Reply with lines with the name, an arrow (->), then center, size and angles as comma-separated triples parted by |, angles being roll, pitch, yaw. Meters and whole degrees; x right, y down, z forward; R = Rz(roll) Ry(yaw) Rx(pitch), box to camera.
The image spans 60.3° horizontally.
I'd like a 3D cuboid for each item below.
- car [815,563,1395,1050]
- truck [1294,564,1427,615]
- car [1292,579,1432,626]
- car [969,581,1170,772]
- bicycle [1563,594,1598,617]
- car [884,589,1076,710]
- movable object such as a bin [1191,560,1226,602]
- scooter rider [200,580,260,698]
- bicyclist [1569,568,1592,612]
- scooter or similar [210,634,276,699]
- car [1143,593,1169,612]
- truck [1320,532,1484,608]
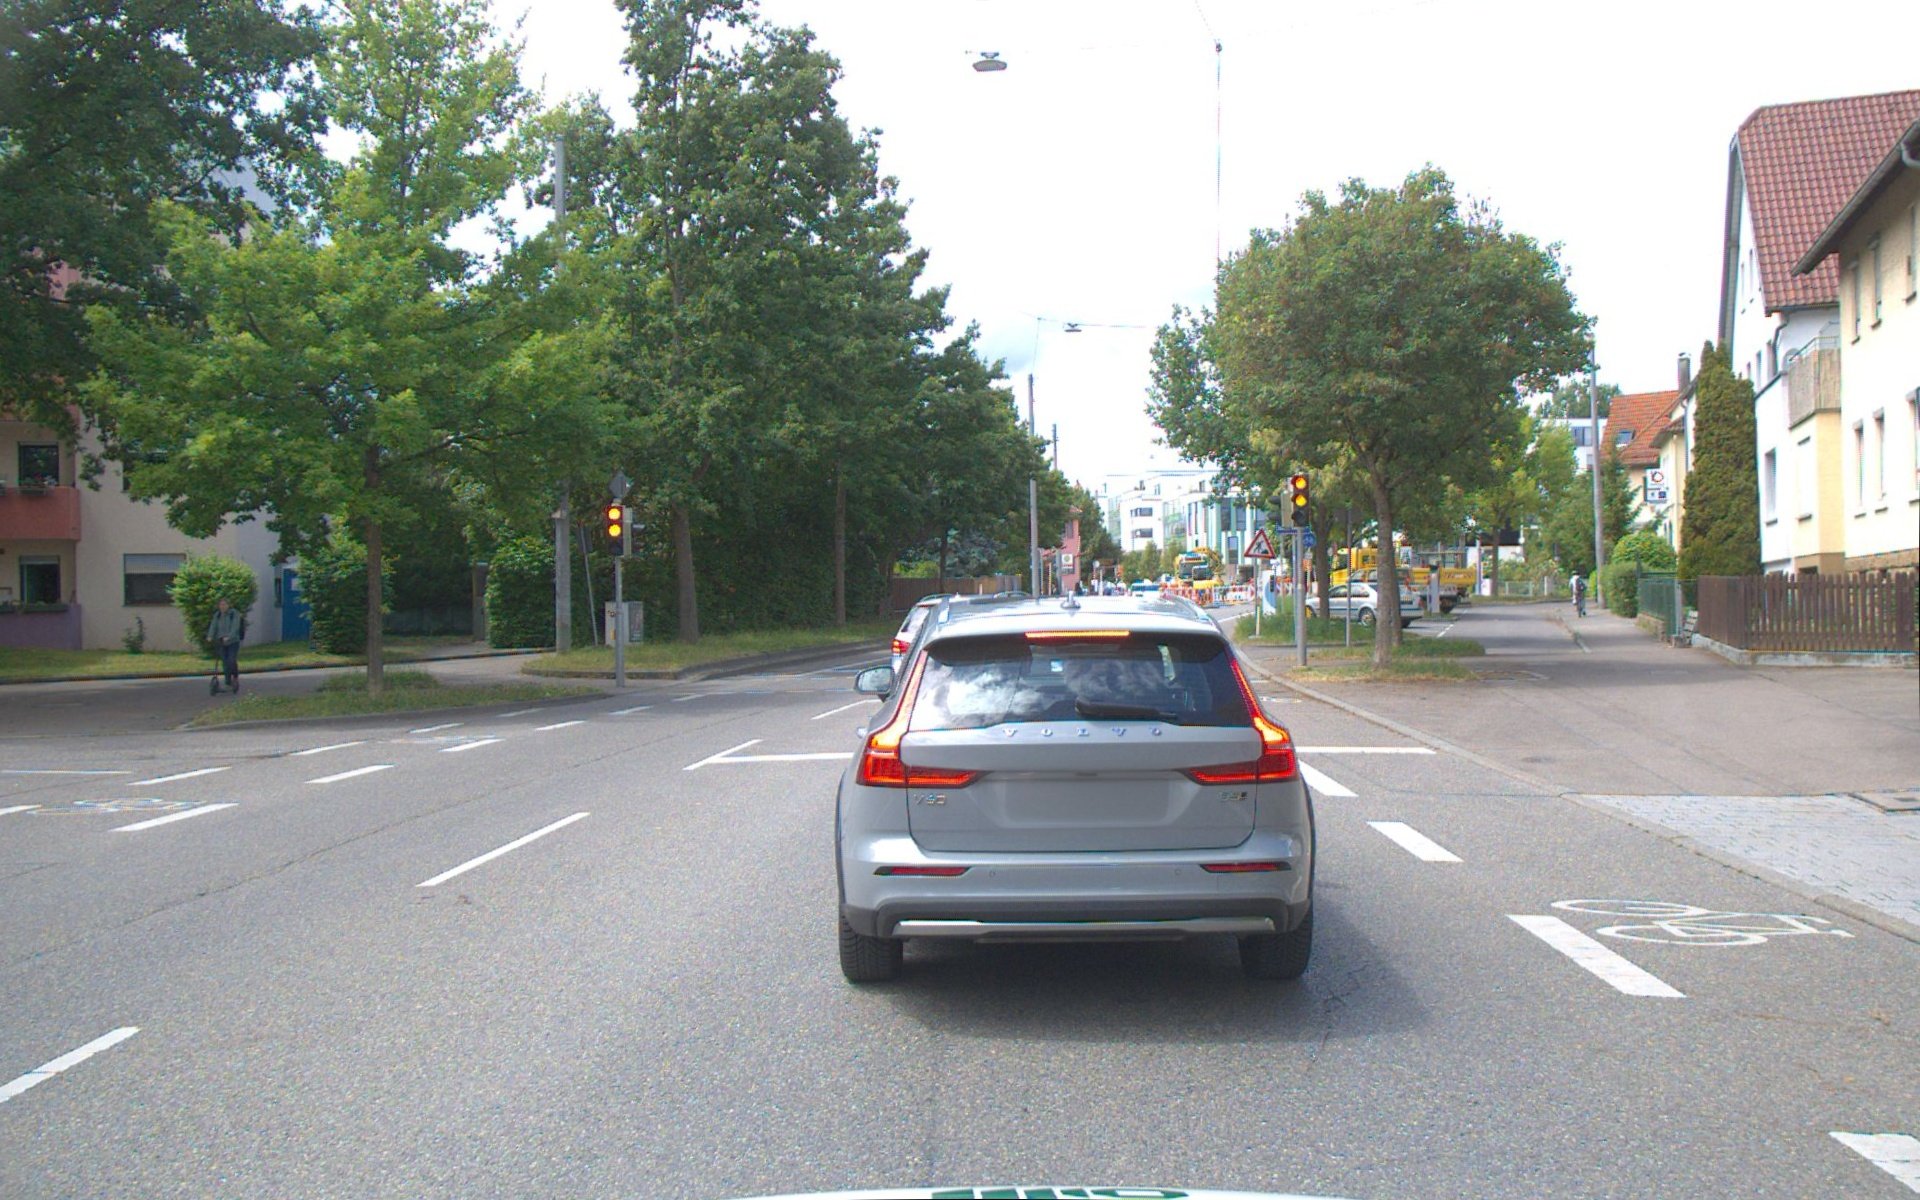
car -> 0.472, 0.689, 7.452 | 1.888, 1.567, 3.999 | -1, 0, 0
truck -> 16.672, -0.430, 69.211 | 1.975, 2.049, 5.613 | 2, -1, -33
car -> 13.200, 0.073, 54.609 | 1.745, 1.477, 4.638 | -1, 1, -32
car -> 0.976, 0.647, 15.549 | 1.627, 1.534, 3.703 | 1, 0, 2
bicycle -> 22.334, 0.190, 59.561 | 0.582, 0.826, 1.753 | 1, 0, -1
car -> 0.380, 0.655, 23.092 | 2.057, 1.536, 4.003 | 0, -1, 10
movable object such as a bin -> 16.476, -1.263, 109.634 | 1.991, 2.689, 5.945 | -2, 0, 11
scooter rider -> -12.860, 0.683, 29.146 | 0.663, 2.049, 0.794 | 1, -1, -1
bicyclist -> 22.349, -0.354, 59.601 | 0.577, 1.586, 0.566 | 1, -1, -2
scooter or similar -> -12.670, 1.160, 29.250 | 0.741, 1.102, 0.944 | 1, -1, -1
car -> 15.005, 0.191, 126.398 | 1.789, 1.353, 4.003 | 1, -2, 9
truck -> 18.933, -1.237, 71.206 | 2.737, 3.061, 6.626 | 2, -1, -34
